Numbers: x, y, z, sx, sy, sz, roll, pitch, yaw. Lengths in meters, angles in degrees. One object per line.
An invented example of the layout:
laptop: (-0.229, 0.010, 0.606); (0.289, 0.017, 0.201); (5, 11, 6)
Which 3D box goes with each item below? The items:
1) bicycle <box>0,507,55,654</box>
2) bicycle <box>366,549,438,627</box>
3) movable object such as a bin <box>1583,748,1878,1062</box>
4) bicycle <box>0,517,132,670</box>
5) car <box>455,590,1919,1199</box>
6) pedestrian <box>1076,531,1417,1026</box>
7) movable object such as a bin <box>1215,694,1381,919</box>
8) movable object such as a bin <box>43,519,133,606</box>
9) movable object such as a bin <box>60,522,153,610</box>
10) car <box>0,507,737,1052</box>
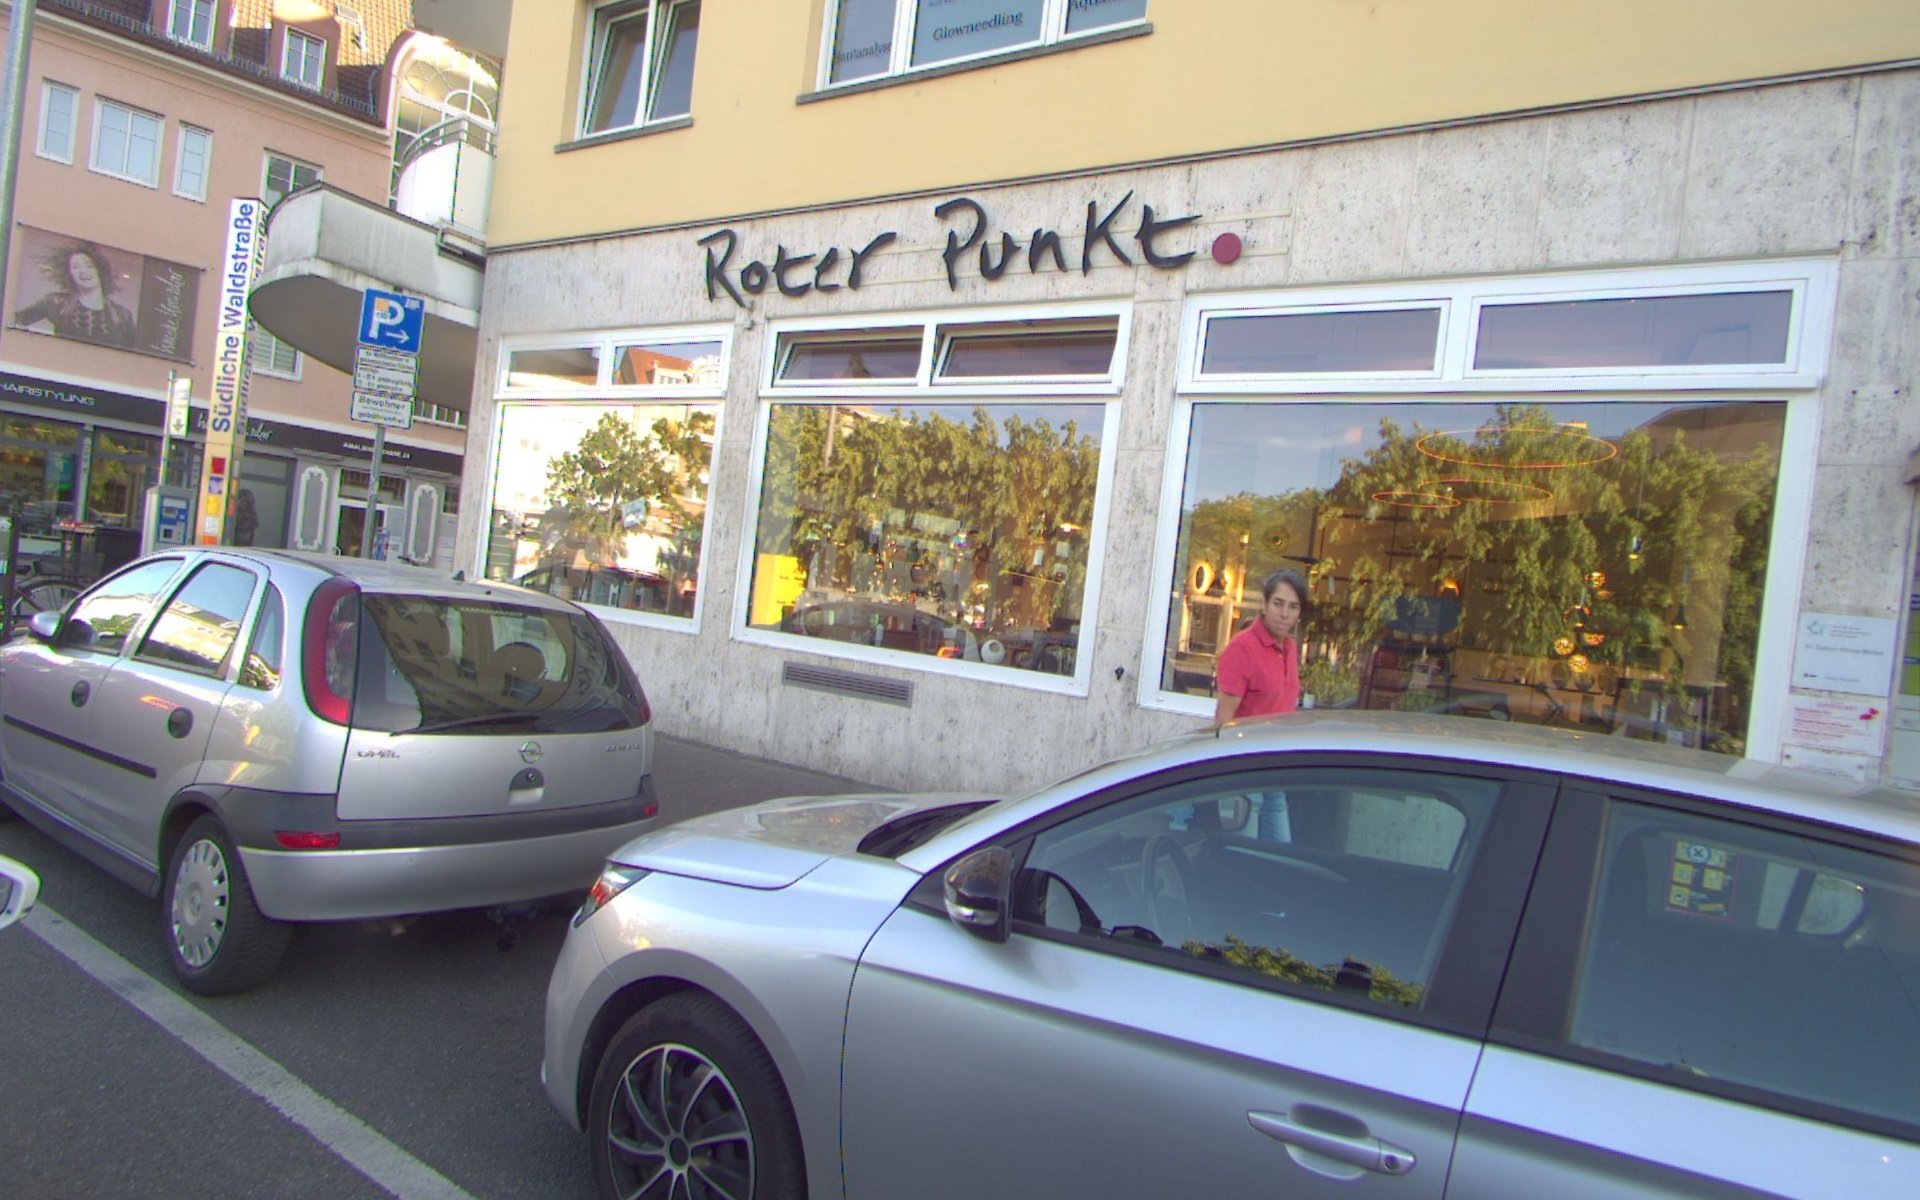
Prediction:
bicycle: (-9.108, -0.234, 8.706); (0.778, 1.284, 1.721); (7, 1, 37)
bicycle: (-10.017, -0.233, 18.003); (0.656, 1.213, 2.187); (7, -1, -39)
movable object such as a bin: (3.388, 1.288, 4.529); (0.879, 1.066, 0.751); (7, 0, 32)
bicycle: (-8.103, -0.083, 8.232); (0.681, 1.208, 1.885); (8, 1, 37)
car: (0.780, 0.929, 2.313); (3.643, 1.415, 1.652); (7, -1, 30)
pedestrian: (1.242, 0.669, 4.368); (0.994, 1.807, 0.862); (7, 2, 40)
movable object such as a bin: (1.870, 1.078, 5.517); (0.592, 1.041, 0.811); (7, 0, 32)
movable object such as a bin: (-12.435, -0.526, 14.353); (0.617, 1.105, 0.734); (6, -1, 34)
movable object such as a bin: (-11.899, -0.468, 14.032); (0.617, 1.105, 0.754); (6, -1, 34)
car: (-2.940, 0.482, 4.465); (3.583, 1.397, 1.616); (7, -2, 32)
